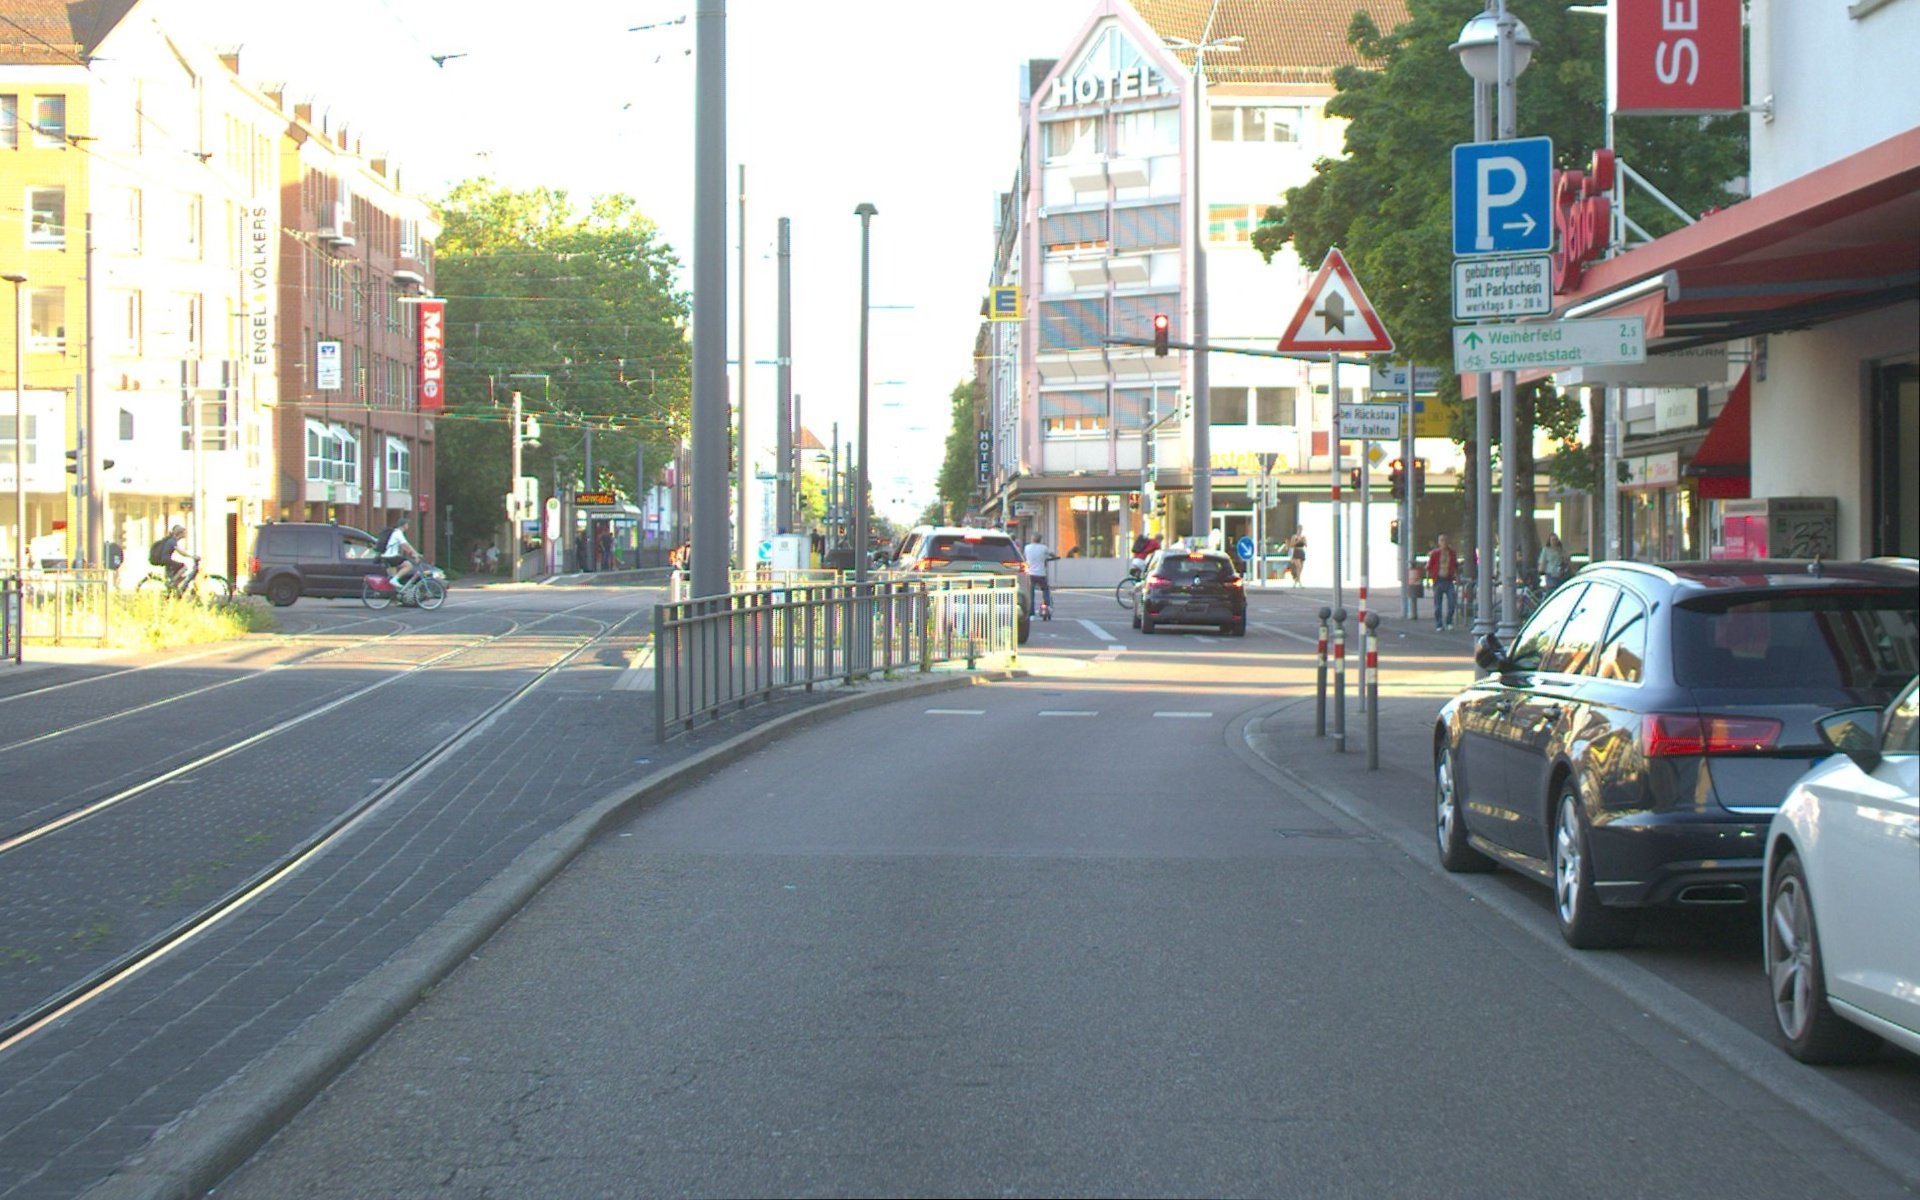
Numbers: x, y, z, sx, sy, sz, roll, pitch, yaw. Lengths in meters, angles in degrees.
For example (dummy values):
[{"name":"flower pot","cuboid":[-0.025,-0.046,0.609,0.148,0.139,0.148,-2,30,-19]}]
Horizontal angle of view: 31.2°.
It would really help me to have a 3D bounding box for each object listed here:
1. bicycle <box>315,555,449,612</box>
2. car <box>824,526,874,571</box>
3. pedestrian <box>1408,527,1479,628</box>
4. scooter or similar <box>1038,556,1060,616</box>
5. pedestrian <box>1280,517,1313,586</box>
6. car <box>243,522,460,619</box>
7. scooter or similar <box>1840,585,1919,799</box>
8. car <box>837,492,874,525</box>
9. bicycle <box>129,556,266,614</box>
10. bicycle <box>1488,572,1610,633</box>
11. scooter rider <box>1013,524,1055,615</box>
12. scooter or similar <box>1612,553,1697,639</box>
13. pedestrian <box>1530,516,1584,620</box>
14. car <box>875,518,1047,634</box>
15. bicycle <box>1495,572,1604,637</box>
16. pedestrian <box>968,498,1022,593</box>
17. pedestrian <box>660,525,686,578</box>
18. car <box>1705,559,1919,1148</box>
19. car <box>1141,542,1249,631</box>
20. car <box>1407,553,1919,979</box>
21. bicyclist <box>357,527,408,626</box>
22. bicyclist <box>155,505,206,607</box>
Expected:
[{"name":"bicycle","cuboid":[-11.857,-0.337,70.550,2.639,1.096,0.435,2,0,-20]},{"name":"car","cuboid":[-4.467,-2.054,138.684,1.811,1.740,3.715,2,1,1]},{"name":"pedestrian","cuboid":[8.252,-0.387,58.706,0.823,1.679,1.049,2,0,-12]},{"name":"scooter or similar","cuboid":[1.639,-0.261,63.346,0.279,1.087,1.257,2,1,6]},{"name":"pedestrian","cuboid":[8.777,-1.264,89.621,0.746,1.772,0.800,2,0,2]},{"name":"car","cuboid":[-13.263,-0.651,74.833,4.559,2.030,2.001,-1,1,-12]},{"name":"scooter or similar","cuboid":[5.643,0.518,19.168,1.437,1.190,0.334,1,2,43]},{"name":"car","cuboid":[-6.200,-5.442,204.875,1.993,1.894,4.000,2,1,0]},{"name":"bicycle","cuboid":[-15.372,-0.294,69.332,2.639,1.096,0.435,2,0,-20]},{"name":"bicycle","cuboid":[9.134,0.039,53.354,1.818,0.888,0.415,2,0,7]},{"name":"scooter rider","cuboid":[1.363,-0.560,63.226,0.662,1.641,0.661,2,0,8]},{"name":"scooter or similar","cuboid":[9.839,-0.051,48.729,0.294,1.213,1.220,1,-1,-44]},{"name":"pedestrian","cuboid":[10.436,-0.562,60.122,0.746,1.772,0.973,2,0,1]},{"name":"car","cuboid":[-0.028,-0.363,50.827,1.835,1.630,4.092,0,1,-10]},{"name":"bicycle","cuboid":[9.310,0.076,54.319,1.658,0.971,0.386,2,0,7]},{"name":"pedestrian","cuboid":[0.681,-1.059,67.260,0.994,1.824,0.729,2,0,0]},{"name":"pedestrian","cuboid":[-9.849,-1.667,118.066,0.805,1.816,0.703,2,0,-1]},{"name":"car","cuboid":[3.154,0.633,8.485,1.651,1.416,4.191,2,1,0]},{"name":"car","cuboid":[3.963,-0.255,58.140,1.764,1.435,4.000,0,1,4]},{"name":"car","cuboid":[3.067,0.546,13.949,1.790,1.408,4.688,2,1,-1]},{"name":"bicyclist","cuboid":[-11.869,-0.482,70.633,0.860,2.007,0.647,2,0,-21]},{"name":"bicyclist","cuboid":[-15.679,-0.882,69.155,0.860,2.007,0.647,2,0,-20]}]
